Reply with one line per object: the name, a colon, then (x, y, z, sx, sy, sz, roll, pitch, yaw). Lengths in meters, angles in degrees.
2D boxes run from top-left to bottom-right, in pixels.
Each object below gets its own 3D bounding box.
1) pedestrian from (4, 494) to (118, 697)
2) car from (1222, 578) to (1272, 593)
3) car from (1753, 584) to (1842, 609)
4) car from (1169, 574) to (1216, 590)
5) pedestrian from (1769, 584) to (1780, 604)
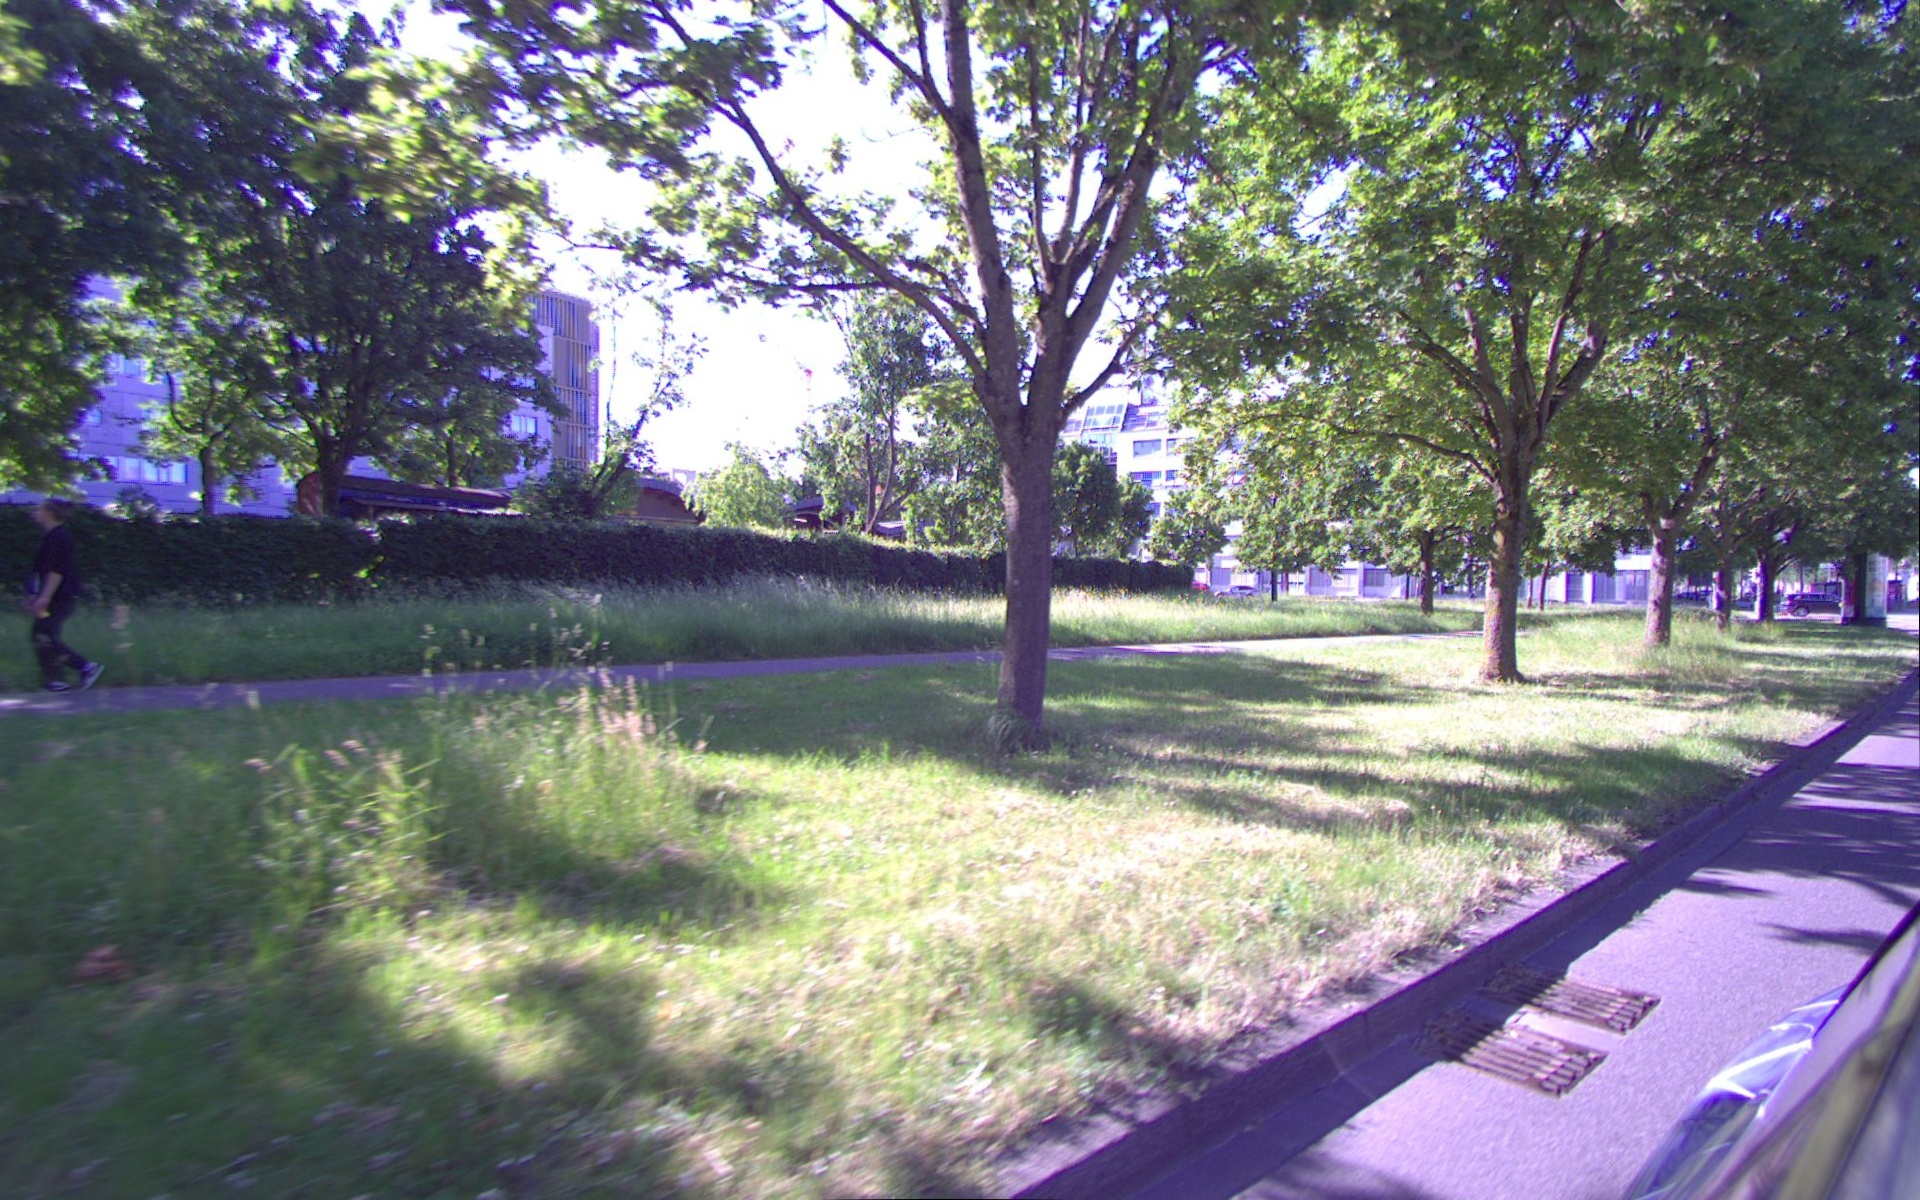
pedestrian: (-8.514, -0.049, 9.617, 0.780, 1.826, 0.717, 0, 1, -41)
car: (27.727, -1.416, 97.817, 4.252, 1.438, 1.899, 2, 1, 31)
car: (58.718, -0.275, 71.078, 4.601, 1.642, 1.976, 2, 2, 35)
car: (23.542, -1.832, 102.550, 4.252, 1.614, 1.899, 2, 1, 31)
pedestrian: (70.662, -0.563, 87.826, 0.729, 1.718, 0.725, 1, 1, 39)
